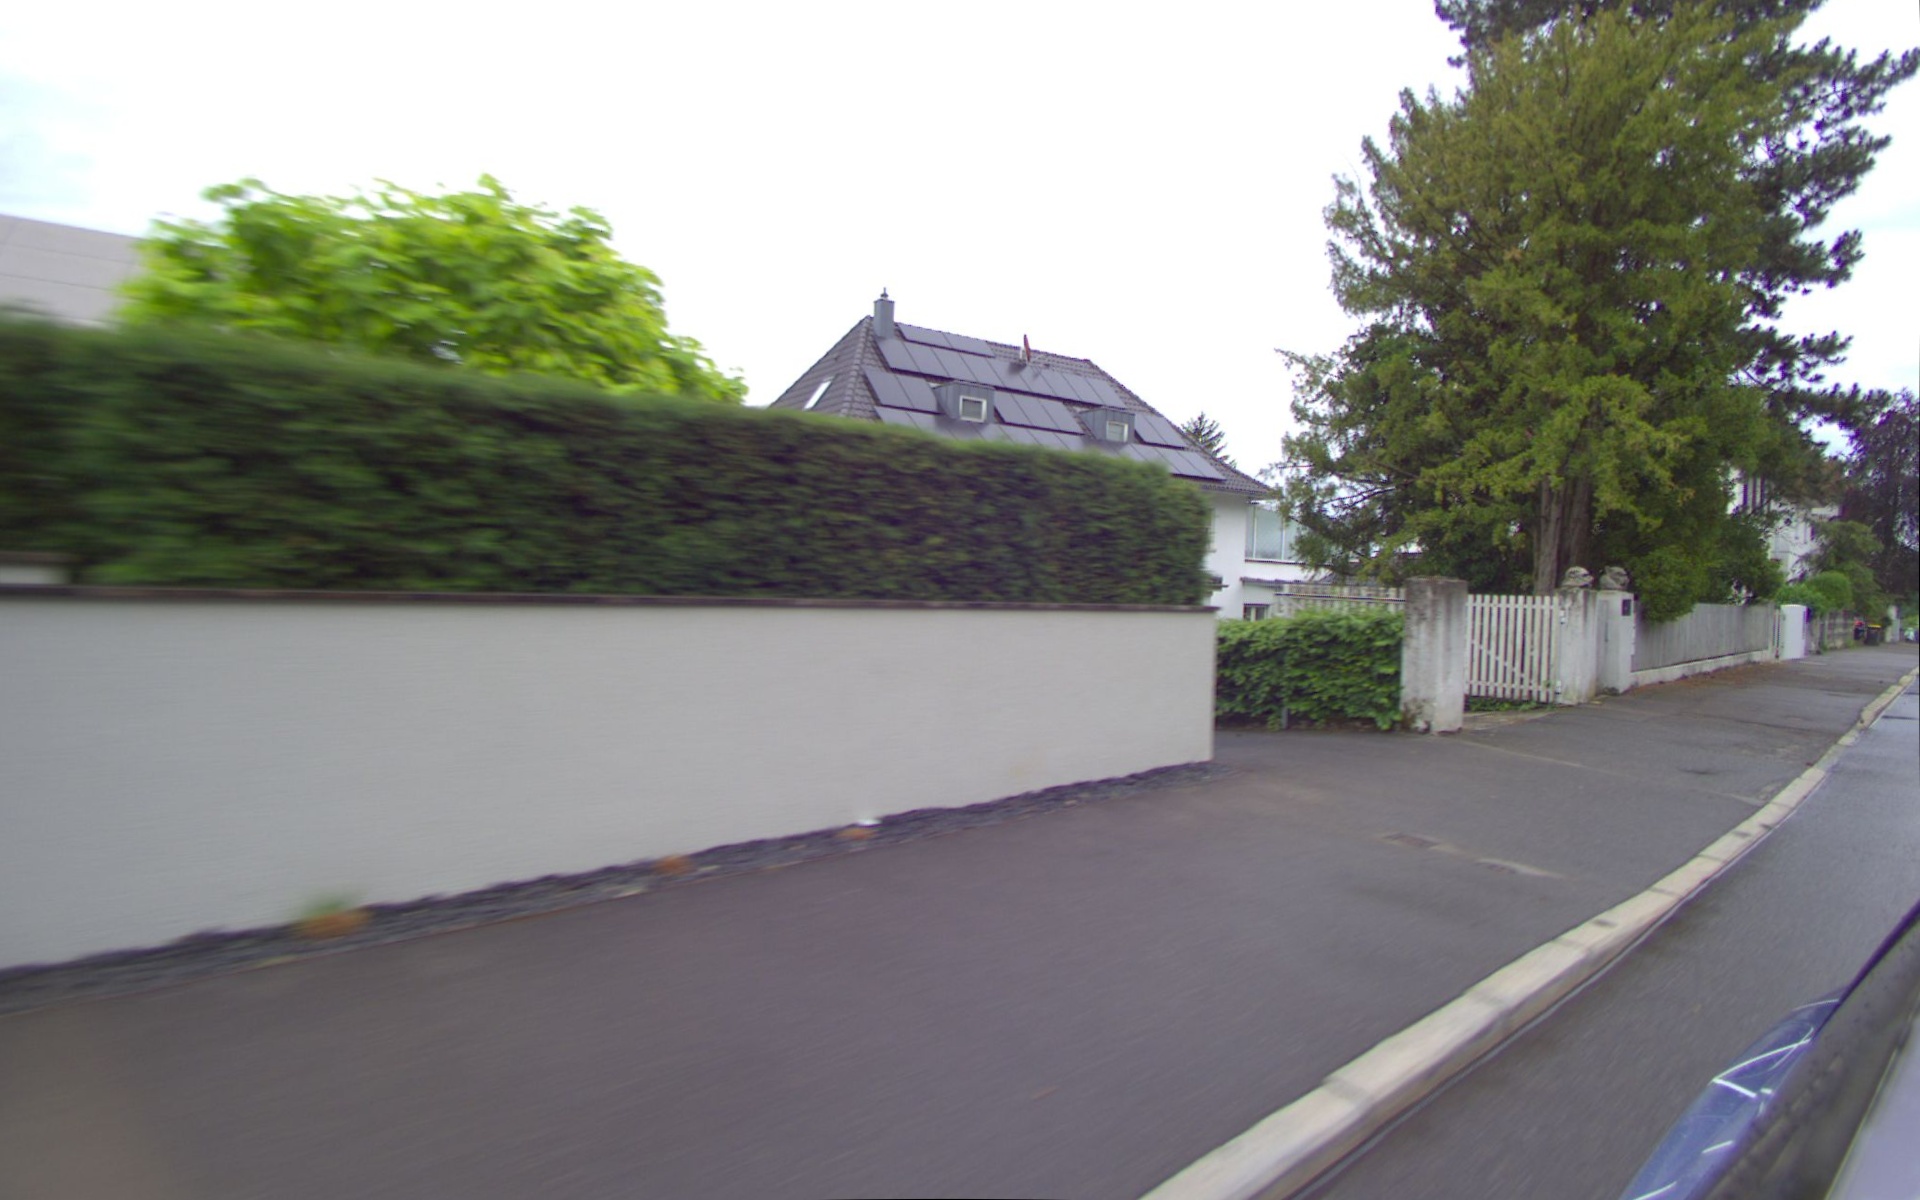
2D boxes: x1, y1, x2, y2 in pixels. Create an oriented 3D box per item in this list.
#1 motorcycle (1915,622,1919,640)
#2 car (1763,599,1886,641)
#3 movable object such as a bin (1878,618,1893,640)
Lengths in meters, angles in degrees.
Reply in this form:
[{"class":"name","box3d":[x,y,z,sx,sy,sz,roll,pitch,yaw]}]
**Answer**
[{"class":"motorcycle","box3d":[68.413,2.287,71.751,2.115,1.240,0.695,3,5,-41]},{"class":"car","box3d":[38.021,0.859,44.568,1.886,1.661,3.990,4,-2,-44]},{"class":"movable object such as a bin","box3d":[41.104,1.286,44.942,0.494,0.968,0.495,1,-2,44]}]
